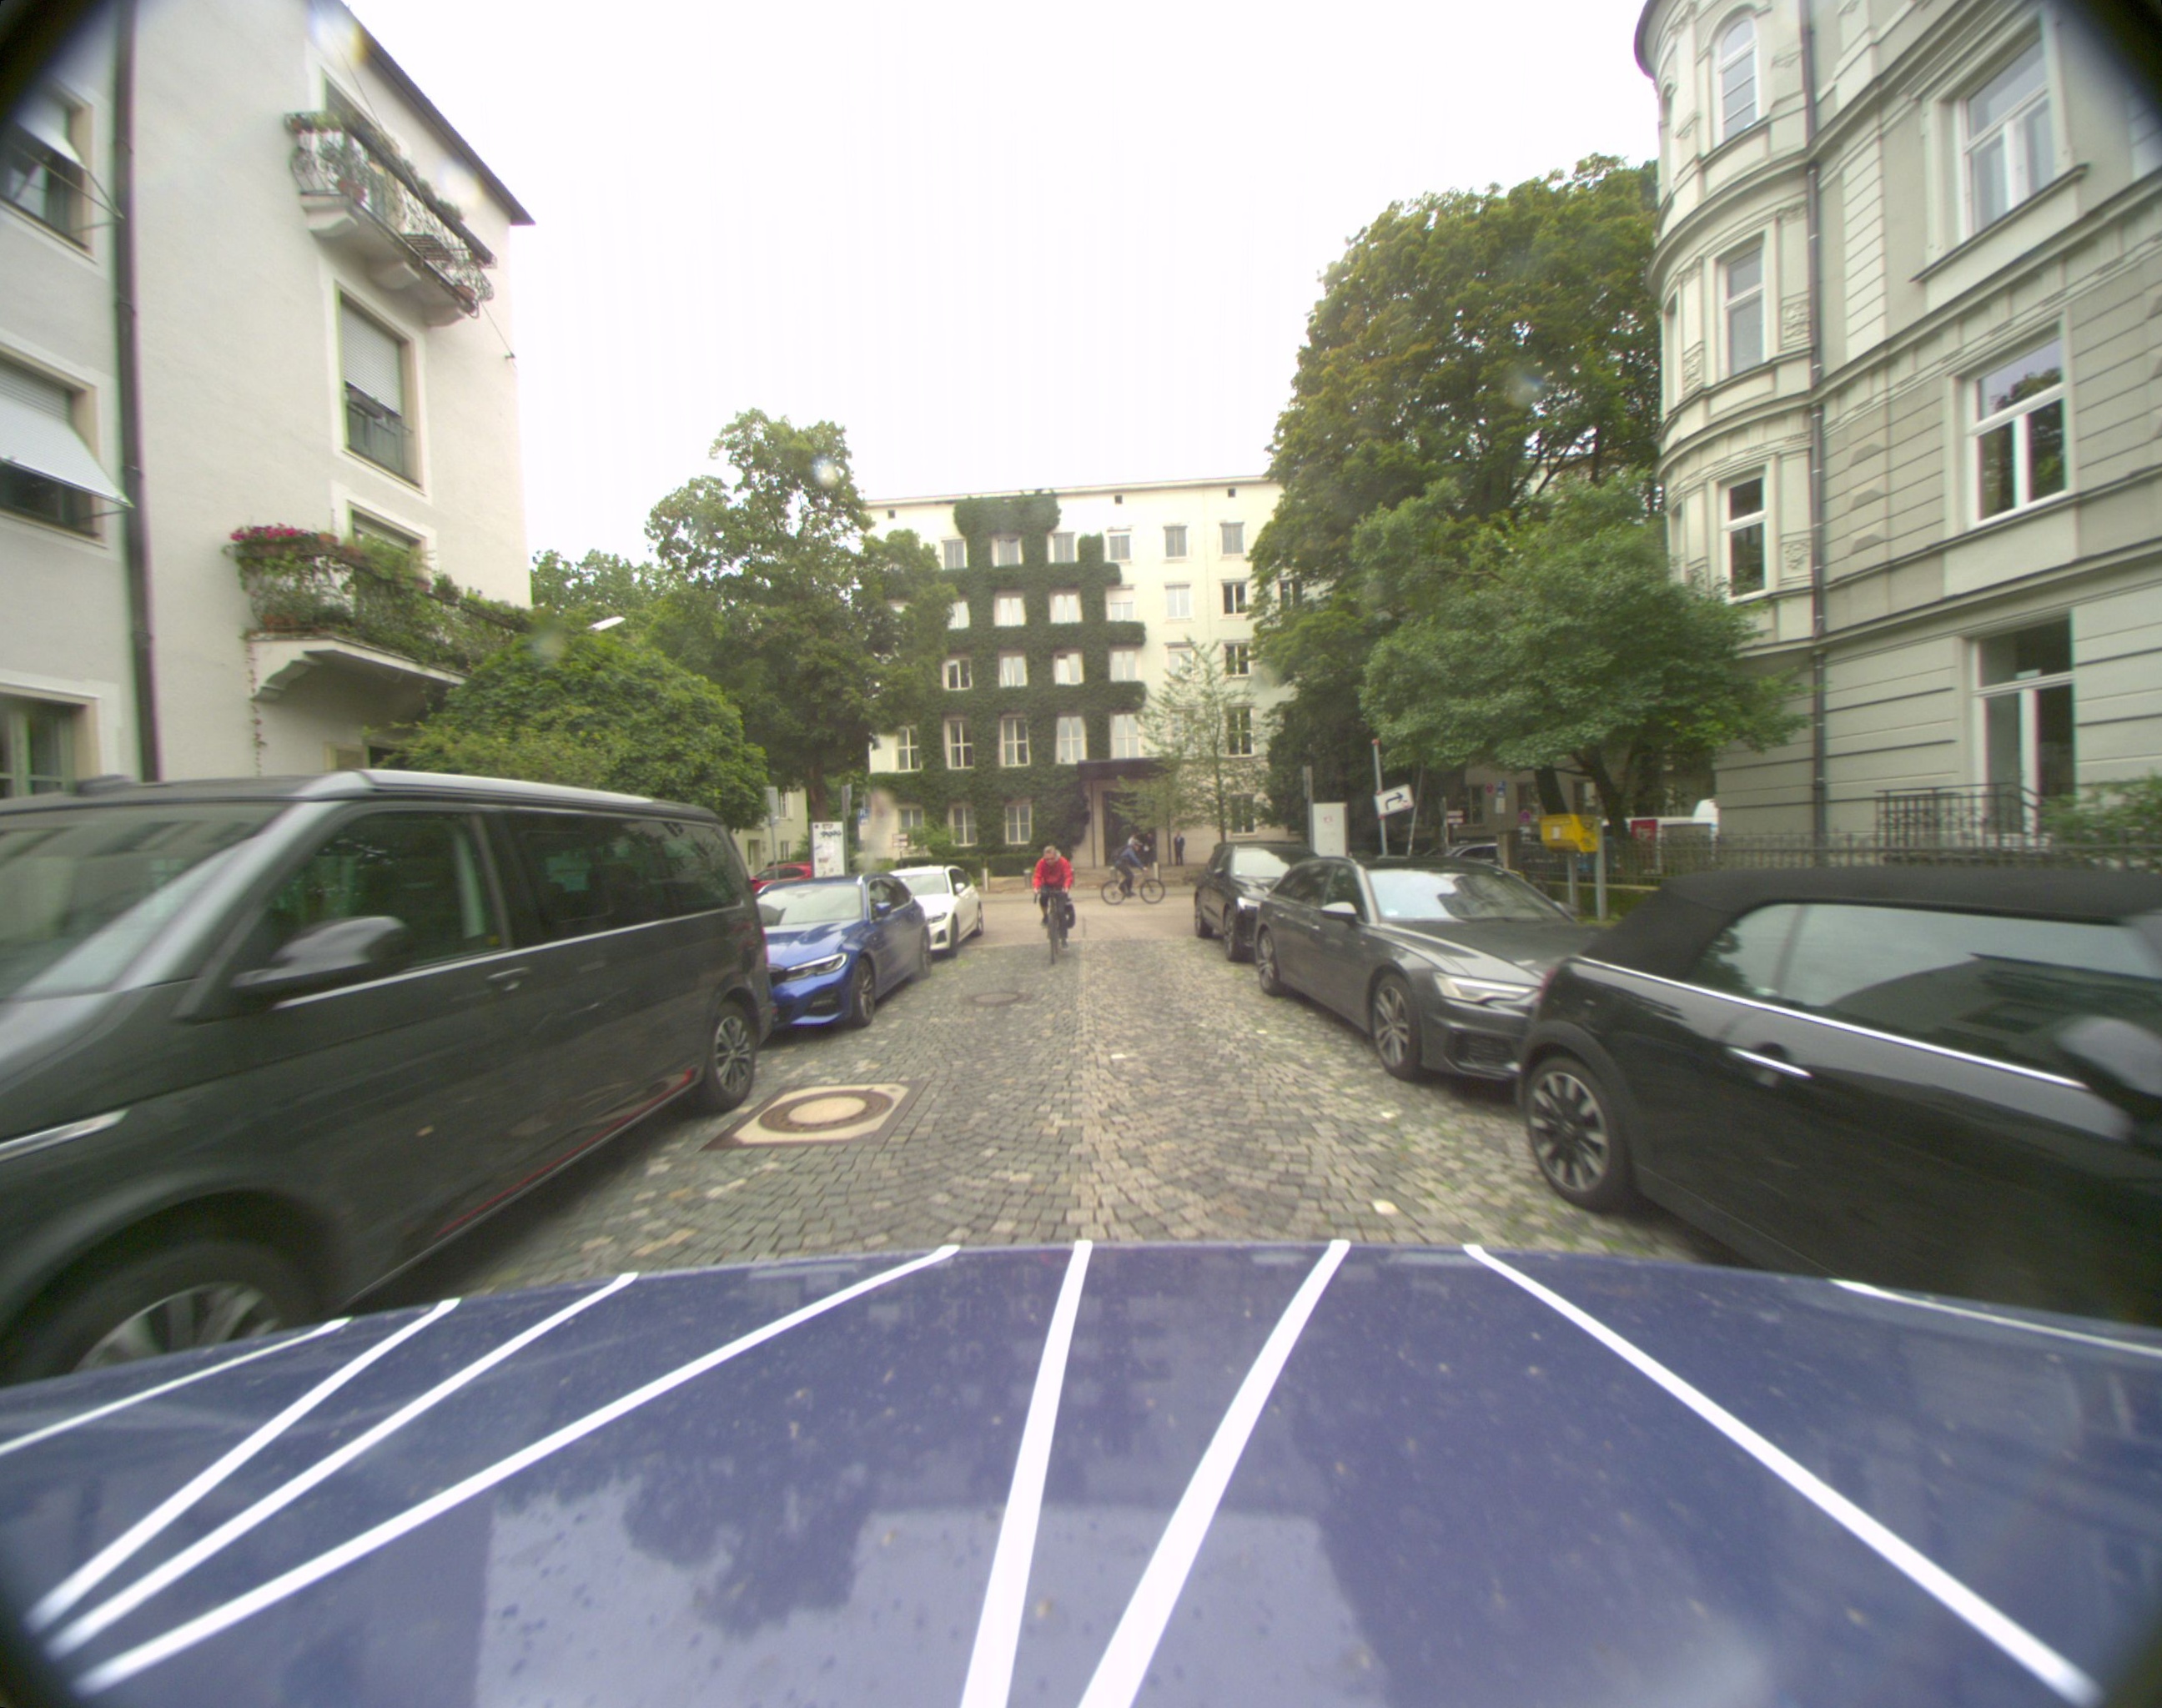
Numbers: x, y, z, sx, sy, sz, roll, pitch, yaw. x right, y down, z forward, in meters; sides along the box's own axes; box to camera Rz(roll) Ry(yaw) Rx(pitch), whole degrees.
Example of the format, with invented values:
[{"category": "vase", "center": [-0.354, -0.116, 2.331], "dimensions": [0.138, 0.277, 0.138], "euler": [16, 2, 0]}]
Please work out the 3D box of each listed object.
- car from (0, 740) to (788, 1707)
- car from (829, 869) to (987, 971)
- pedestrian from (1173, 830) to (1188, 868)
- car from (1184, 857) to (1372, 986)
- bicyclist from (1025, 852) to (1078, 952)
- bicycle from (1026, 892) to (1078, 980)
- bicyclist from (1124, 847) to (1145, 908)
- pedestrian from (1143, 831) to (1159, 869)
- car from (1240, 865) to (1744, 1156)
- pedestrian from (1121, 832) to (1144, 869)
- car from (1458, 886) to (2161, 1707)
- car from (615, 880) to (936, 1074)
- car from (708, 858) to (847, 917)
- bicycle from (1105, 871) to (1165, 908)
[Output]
[{"category": "car", "center": [-3.167, 0.811, 3.037], "dimensions": [1.999, 1.958, 4.965], "euler": [-5, 1, -1]}, {"category": "car", "center": [-2.803, 1.009, 13.268], "dimensions": [1.744, 1.367, 4.281], "euler": [-1, 0, 0]}, {"category": "pedestrian", "center": [5.197, -0.281, 39.749], "dimensions": [0.666, 1.905, 0.863], "euler": [-4, 1, 9]}, {"category": "car", "center": [2.787, 0.862, 11.777], "dimensions": [1.744, 1.572, 4.281], "euler": [-1, 0, -1]}, {"category": "bicyclist", "center": [-0.412, 0.667, 10.891], "dimensions": [0.648, 1.350, 0.656], "euler": [-3, 1, 0]}, {"category": "bicycle", "center": [-0.391, 1.128, 10.967], "dimensions": [0.636, 1.021, 1.955], "euler": [-3, 1, 0]}, {"category": "bicyclist", "center": [1.489, 0.641, 21.169], "dimensions": [0.544, 1.681, 0.445], "euler": [-1, 1, 1]}, {"category": "pedestrian", "center": [3.651, -0.223, 39.839], "dimensions": [0.701, 1.905, 0.863], "euler": [-4, 1, 3]}, {"category": "car", "center": [2.744, 0.893, 6.356], "dimensions": [1.744, 1.490, 4.280], "euler": [-1, 0, -3]}, {"category": "pedestrian", "center": [2.698, -0.185, 39.748], "dimensions": [0.703, 1.905, 0.861], "euler": [-5, 2, -31]}, {"category": "car", "center": [2.854, 0.934, 1.858], "dimensions": [1.744, 1.490, 4.133], "euler": [-1, 0, -1]}, {"category": "car", "center": [-2.848, 1.065, 8.199], "dimensions": [1.744, 1.367, 4.181], "euler": [-1, 0, 0]}, {"category": "car", "center": [-10.525, 1.136, 26.555], "dimensions": [3.998, 1.671, 1.899], "euler": [-4, 1, -2]}, {"category": "bicycle", "center": [1.488, 0.991, 21.171], "dimensions": [1.646, 0.998, 0.427], "euler": [0, 1, 0]}]
